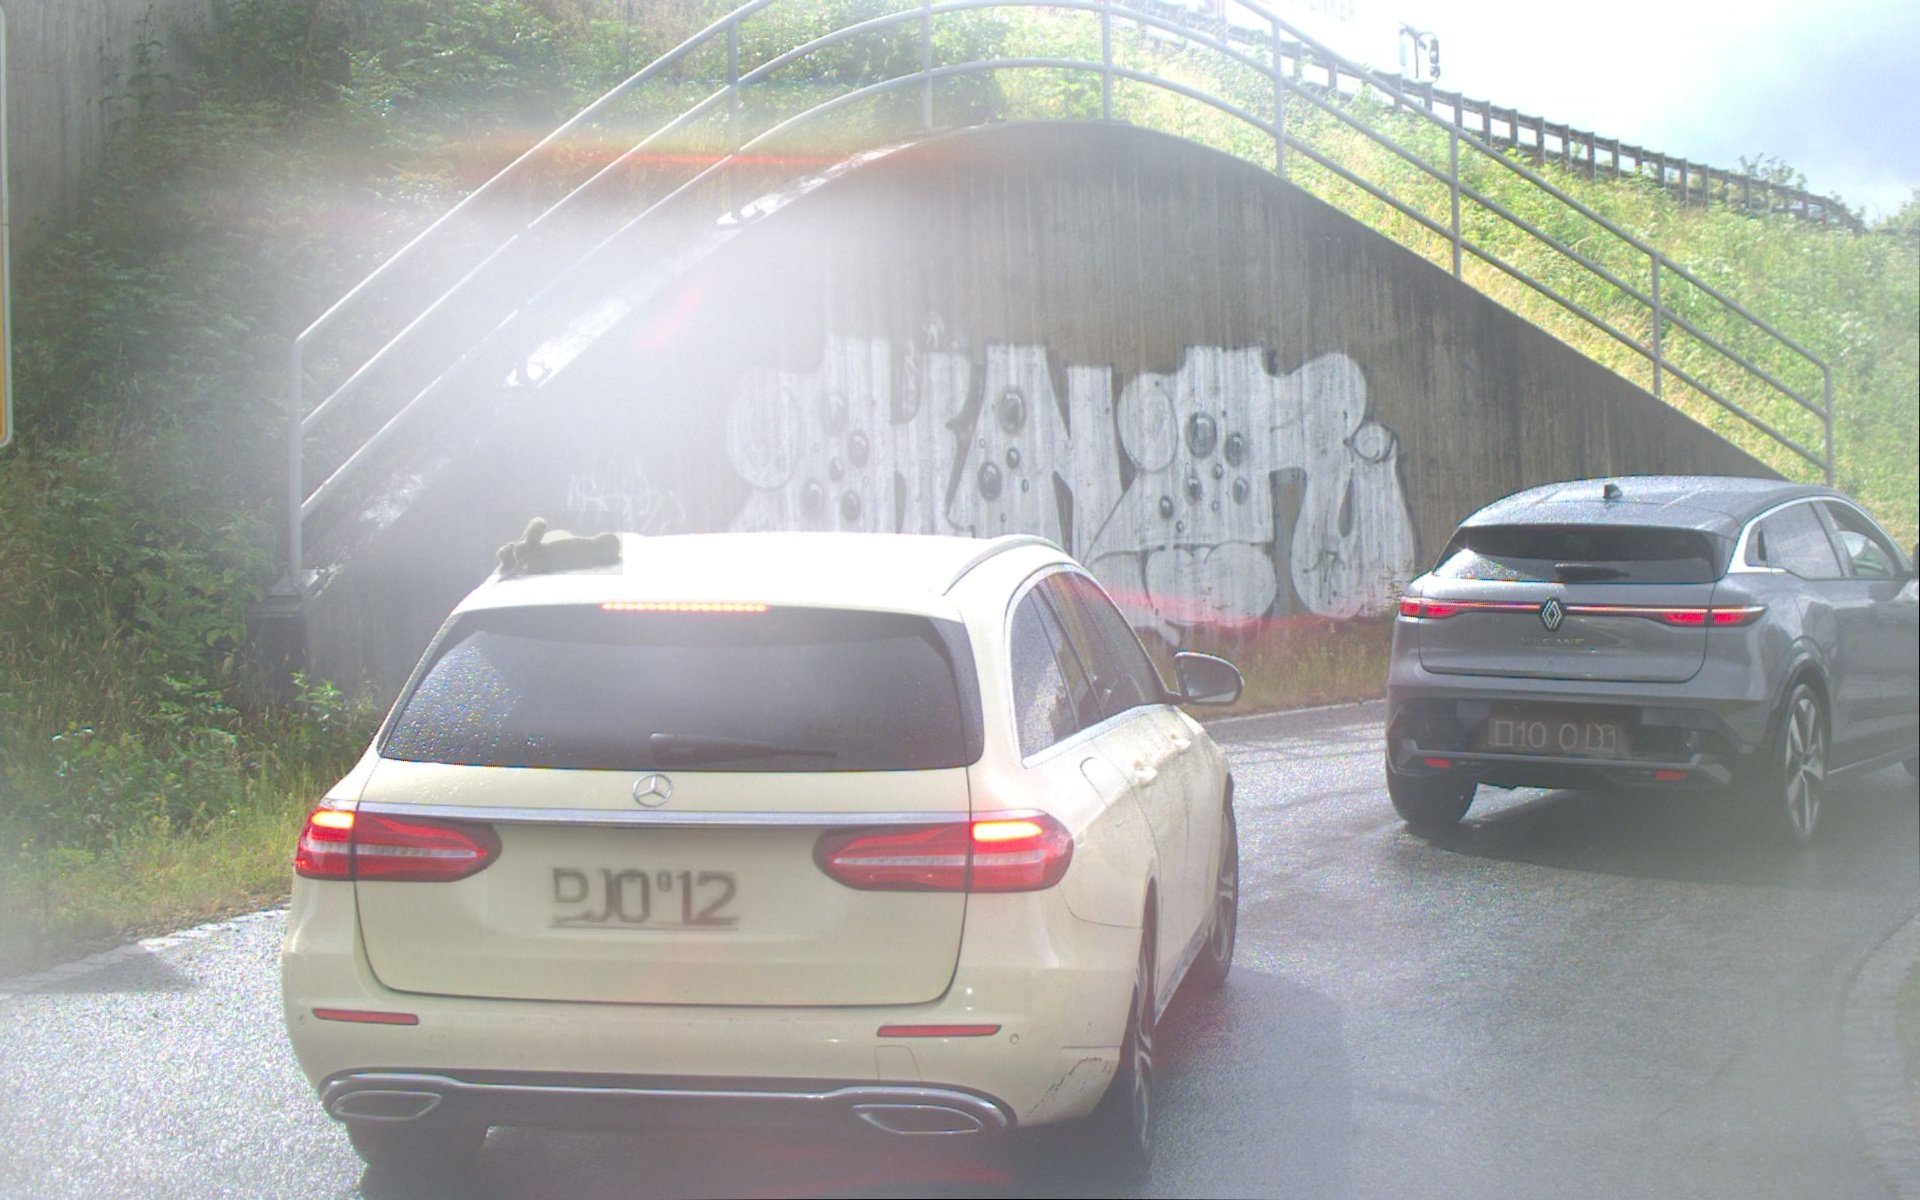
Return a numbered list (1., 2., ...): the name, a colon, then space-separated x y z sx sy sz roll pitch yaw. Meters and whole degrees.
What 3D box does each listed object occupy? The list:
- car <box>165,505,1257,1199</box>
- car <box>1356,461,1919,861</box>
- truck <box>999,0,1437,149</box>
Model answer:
1. car: -0.308 0.535 9.006 1.917 1.502 4.595 0 2 8
2. car: 3.367 0.160 15.490 1.721 1.519 3.994 2 3 29
3. truck: 4.094 -9.272 51.493 3.185 3.952 9.223 1 1 27
